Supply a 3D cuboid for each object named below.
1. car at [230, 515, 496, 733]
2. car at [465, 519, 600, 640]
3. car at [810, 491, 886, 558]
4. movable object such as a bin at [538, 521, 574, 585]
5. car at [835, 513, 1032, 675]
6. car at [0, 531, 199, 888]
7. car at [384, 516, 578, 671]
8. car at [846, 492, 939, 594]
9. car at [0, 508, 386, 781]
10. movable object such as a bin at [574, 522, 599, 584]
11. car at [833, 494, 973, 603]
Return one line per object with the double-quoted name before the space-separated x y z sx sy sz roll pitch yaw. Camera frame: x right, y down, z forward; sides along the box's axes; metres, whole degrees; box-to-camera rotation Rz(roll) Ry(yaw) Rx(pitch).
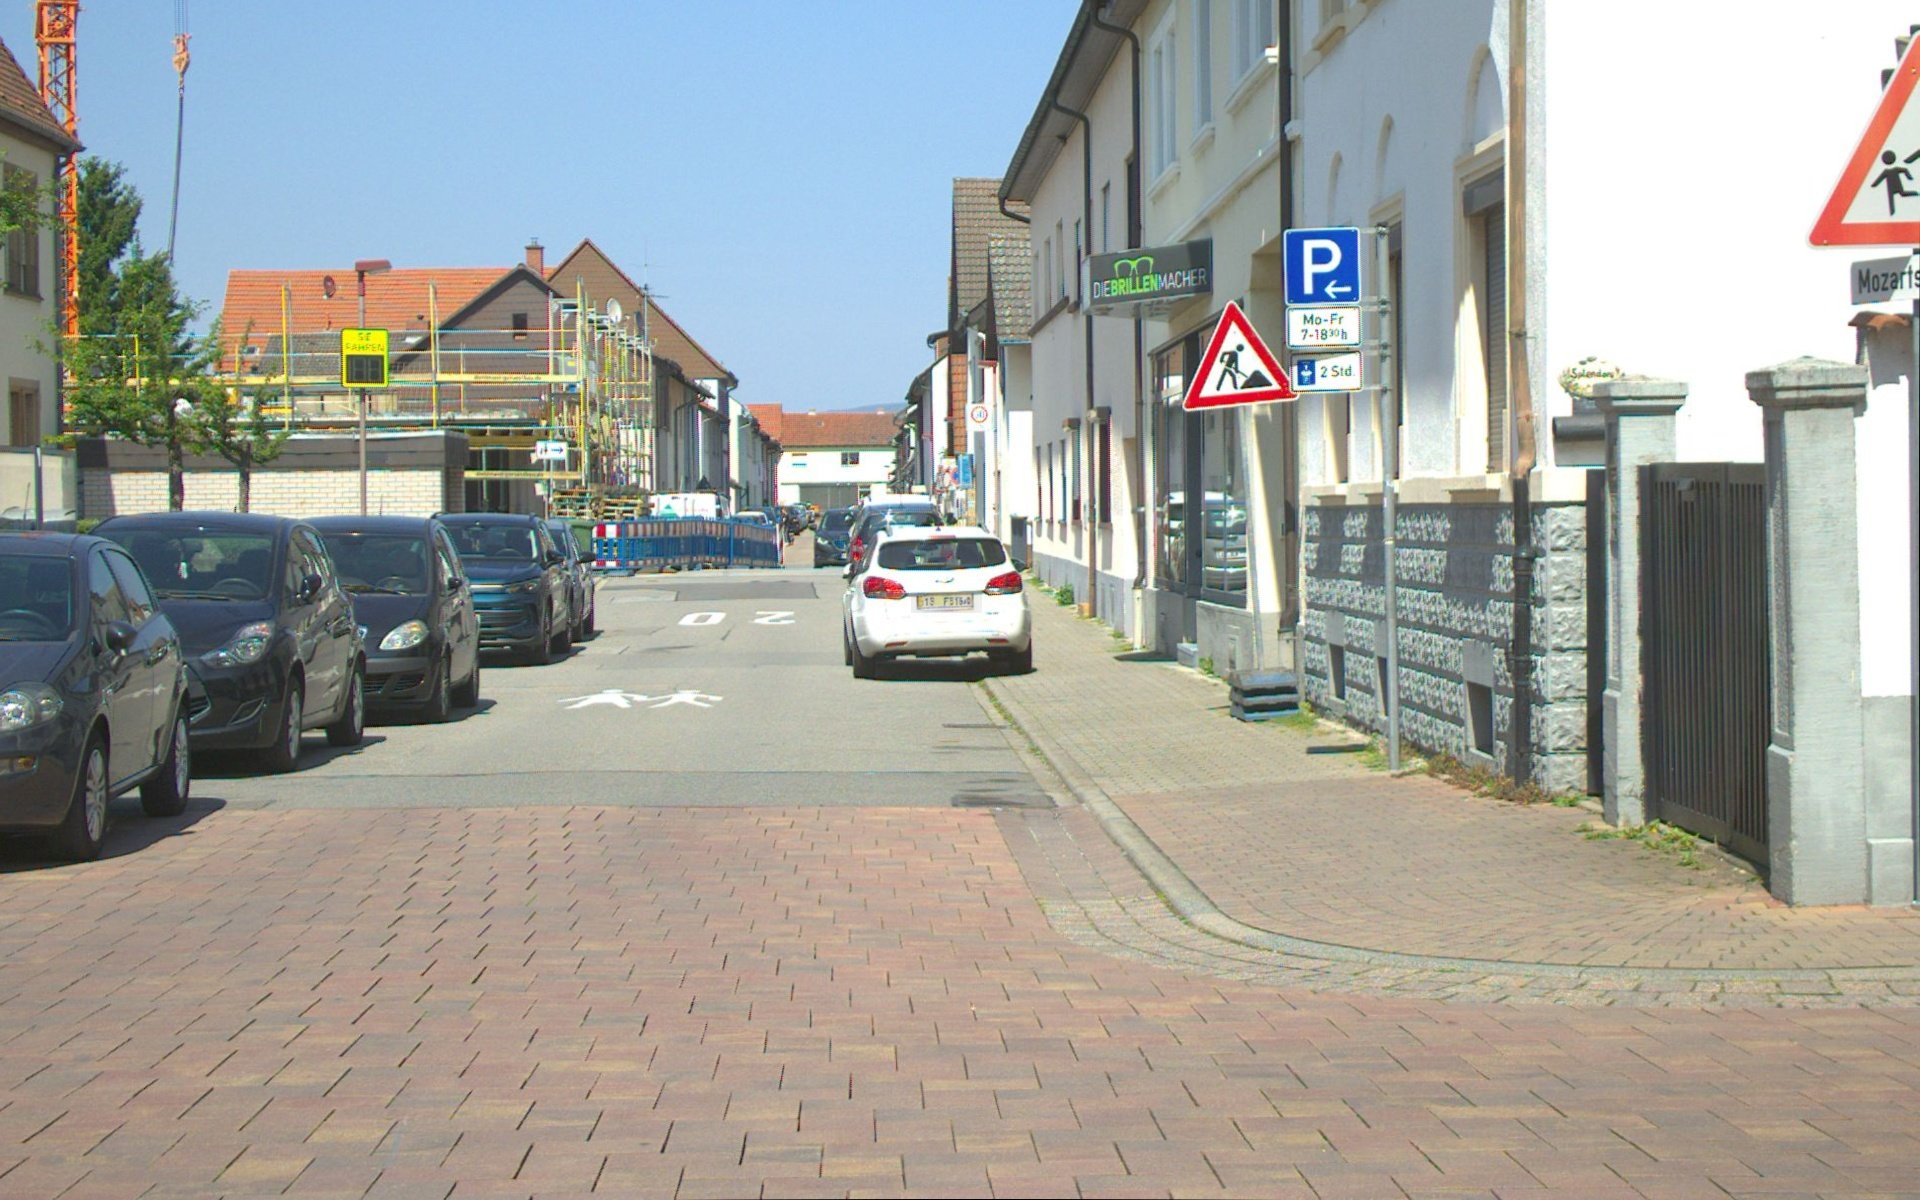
"car" -4.795 0.137 28.053 1.637 1.623 3.769 -1 2 -2
"car" -5.465 -0.298 44.259 1.436 1.469 3.787 0 1 -3
"car" -2.864 -1.936 87.416 1.881 1.662 4.154 0 1 -2
"movable object such as a bin" -7.460 -0.872 63.442 0.621 1.151 0.677 -1 2 -9
"car" -0.214 -0.112 35.251 1.886 1.536 4.243 0 2 1
"car" -4.788 0.437 16.496 1.702 1.491 3.858 -1 2 -5
"car" -5.347 -0.119 38.825 1.826 1.625 4.218 -1 2 -3
"car" -1.210 -1.024 60.248 1.564 1.607 3.543 -1 4 -2
"car" -4.975 0.212 22.374 1.815 1.599 4.025 -1 2 0
"movable object such as a bin" -6.946 -0.874 63.948 0.431 1.151 0.364 -1 2 -11
"car" -0.946 -0.854 54.756 1.884 1.550 3.895 -4 2 -4
